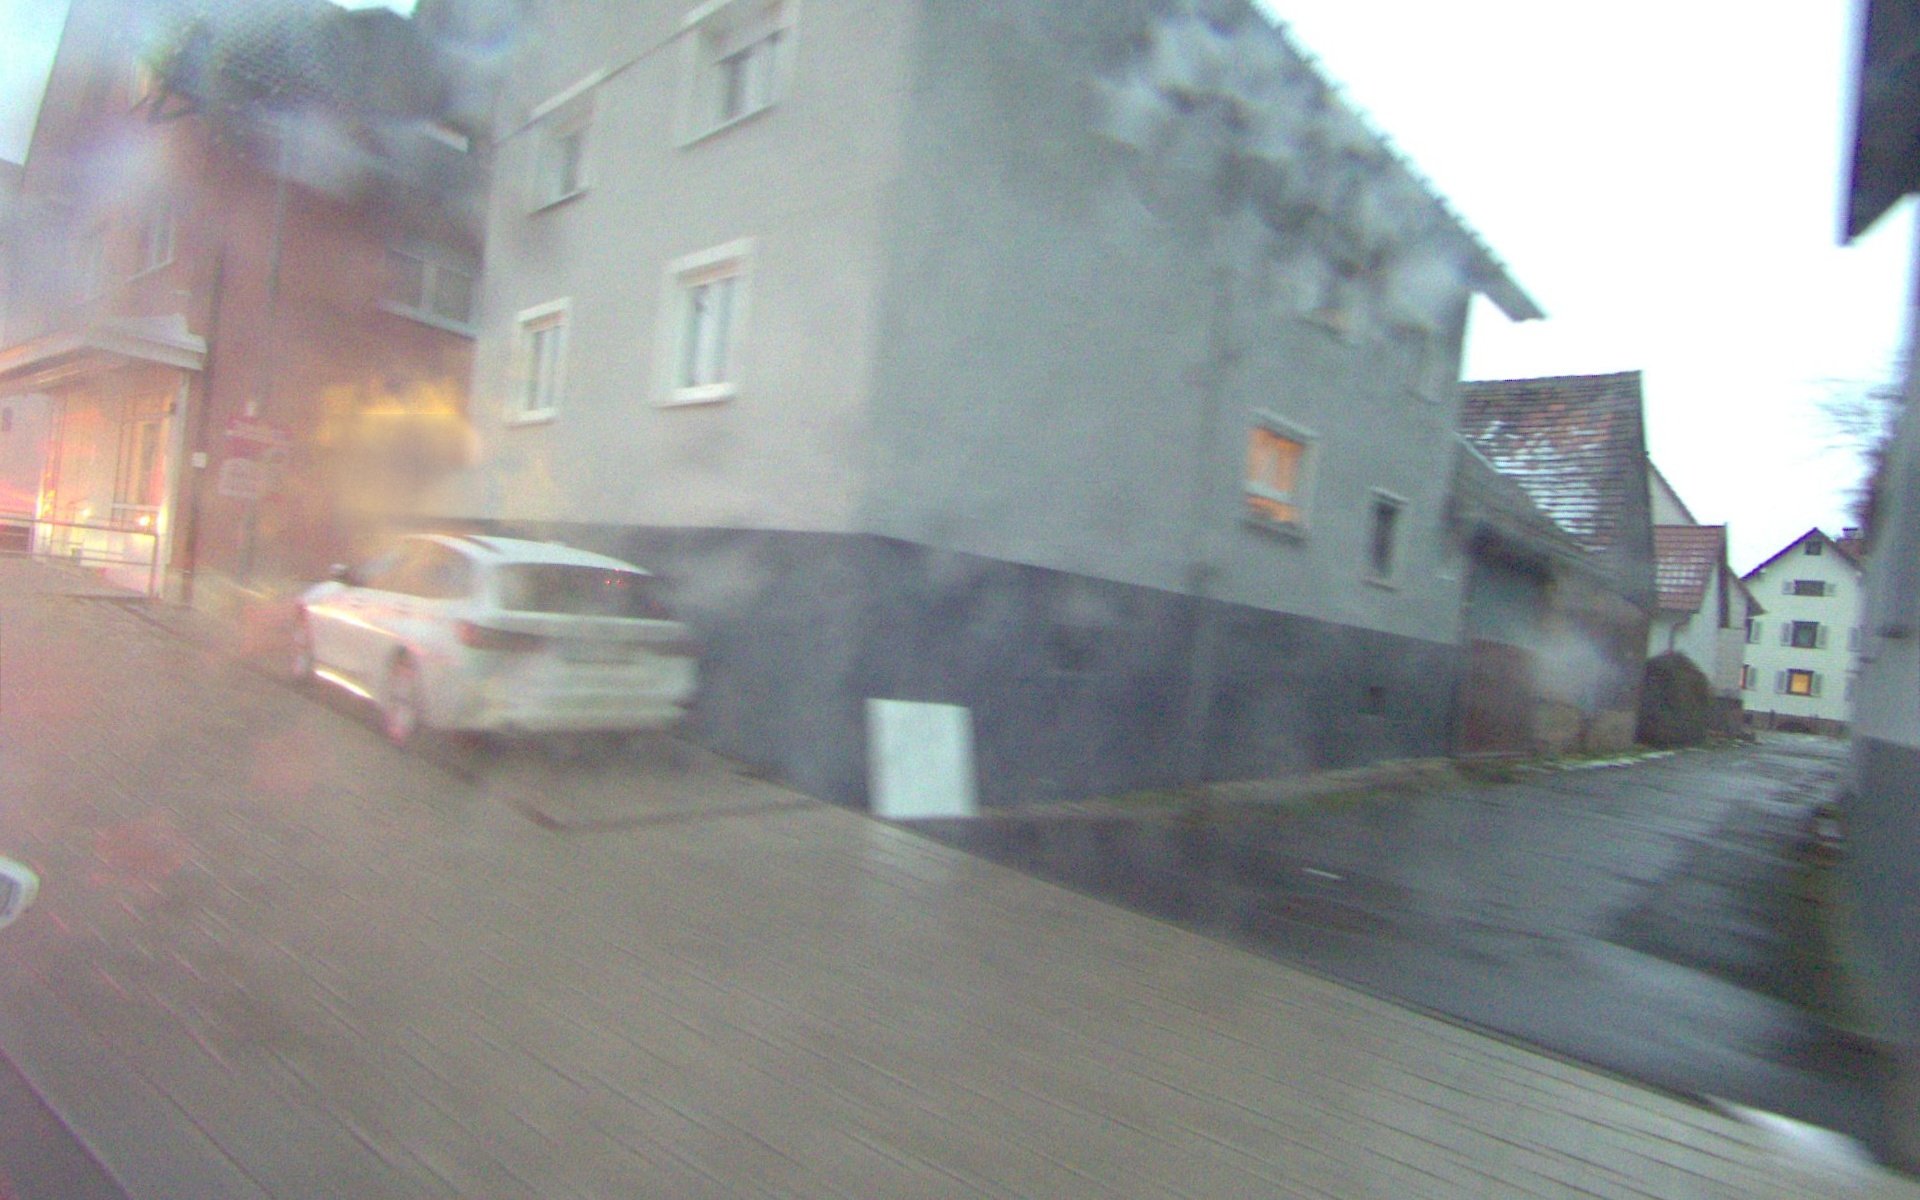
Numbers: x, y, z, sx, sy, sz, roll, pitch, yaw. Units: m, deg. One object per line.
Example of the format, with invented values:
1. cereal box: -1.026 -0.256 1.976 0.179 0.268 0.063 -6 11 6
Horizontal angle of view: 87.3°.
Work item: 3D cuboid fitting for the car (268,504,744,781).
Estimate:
1. car: -3.831 0.168 8.013 4.483 1.485 1.878 7 1 44
